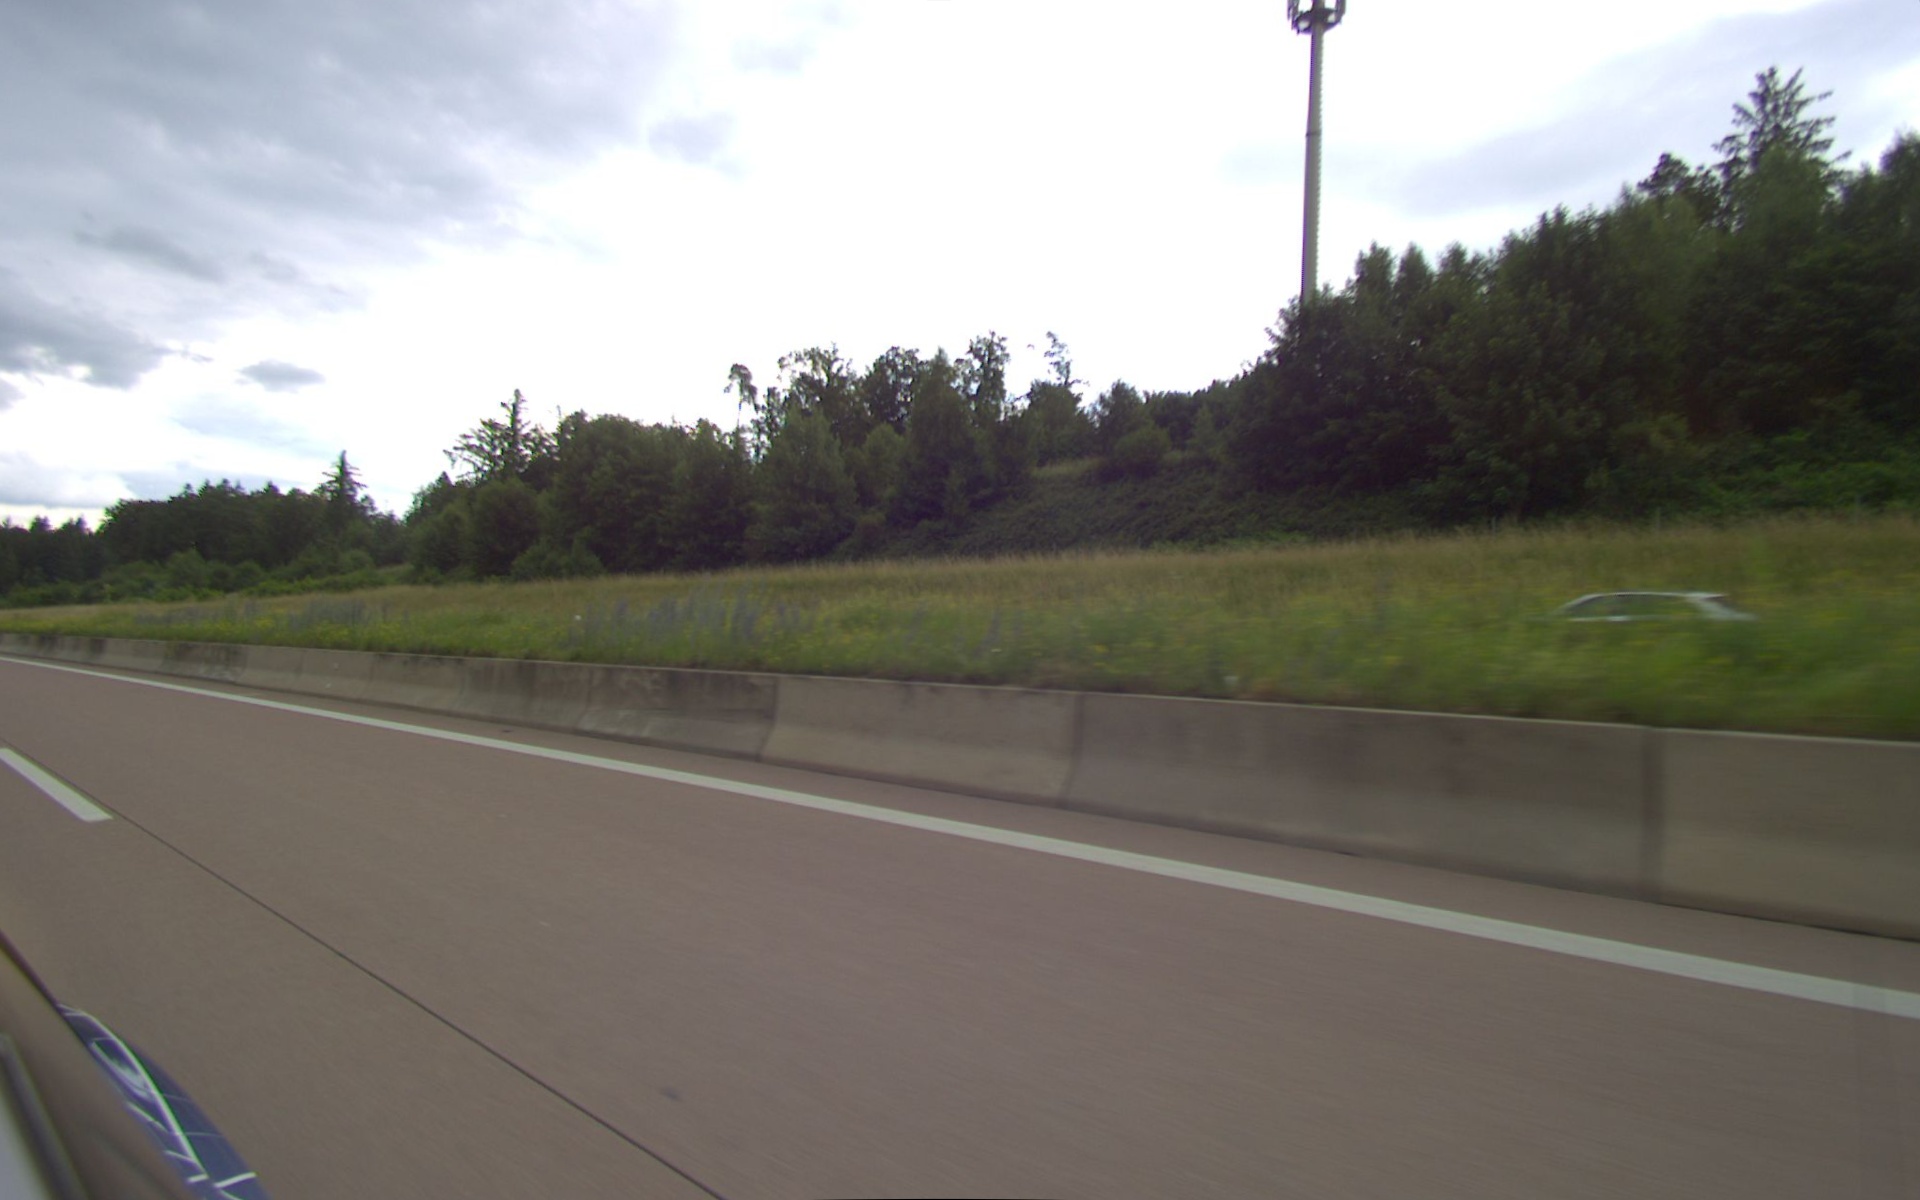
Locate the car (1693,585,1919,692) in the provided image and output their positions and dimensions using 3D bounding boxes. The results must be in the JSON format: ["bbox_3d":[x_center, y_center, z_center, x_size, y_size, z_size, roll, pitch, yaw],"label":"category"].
[{"bbox_3d":[13.739,0.536,15.643,3.711,1.516,1.715,1,1,43],"label":"car"}]
